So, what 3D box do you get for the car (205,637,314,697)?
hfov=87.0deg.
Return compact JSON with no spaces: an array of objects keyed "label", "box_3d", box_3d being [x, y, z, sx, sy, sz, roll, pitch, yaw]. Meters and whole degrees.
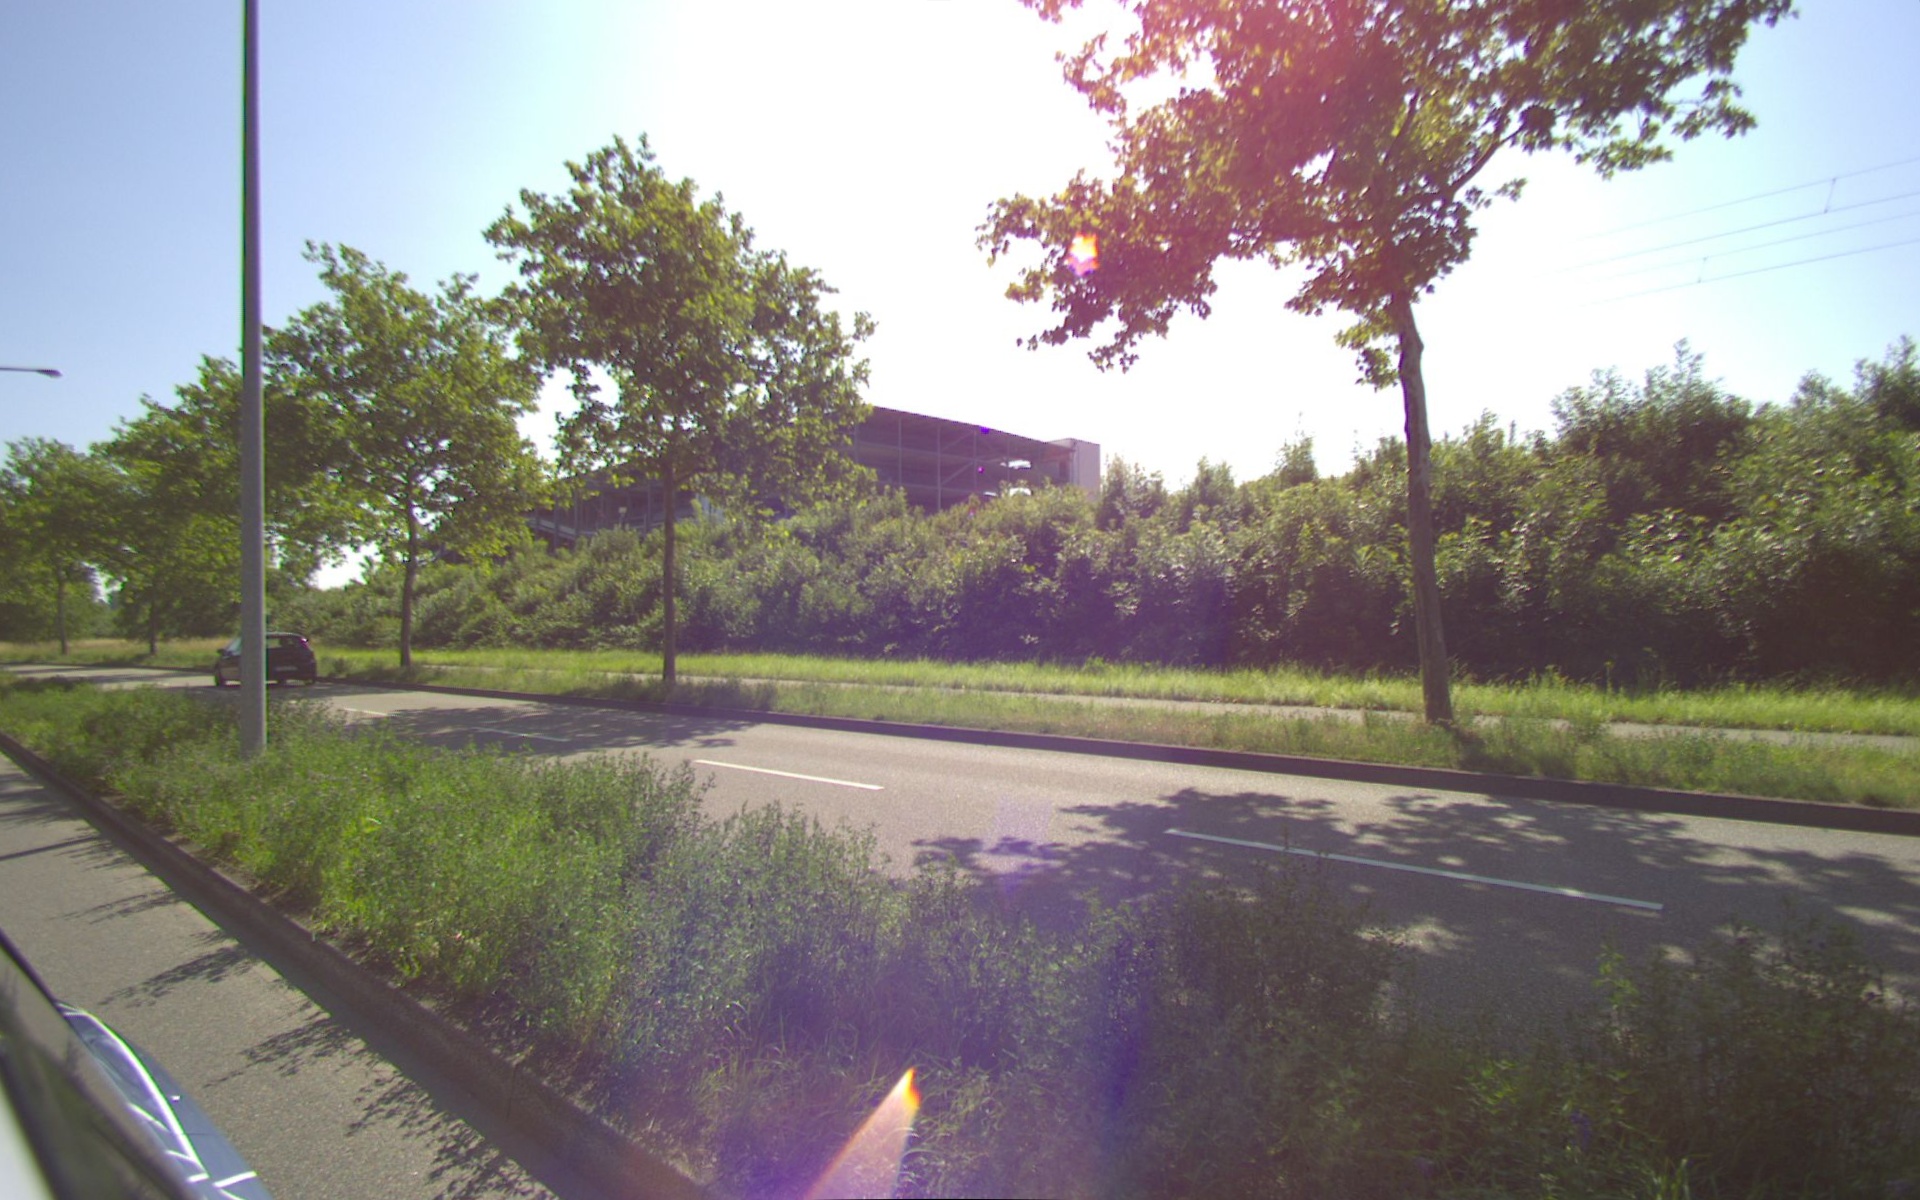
[{"label":"car","box_3d":[-19.148,1.769,27.612,3.925,1.481,1.554,-2,-1,41]}]
